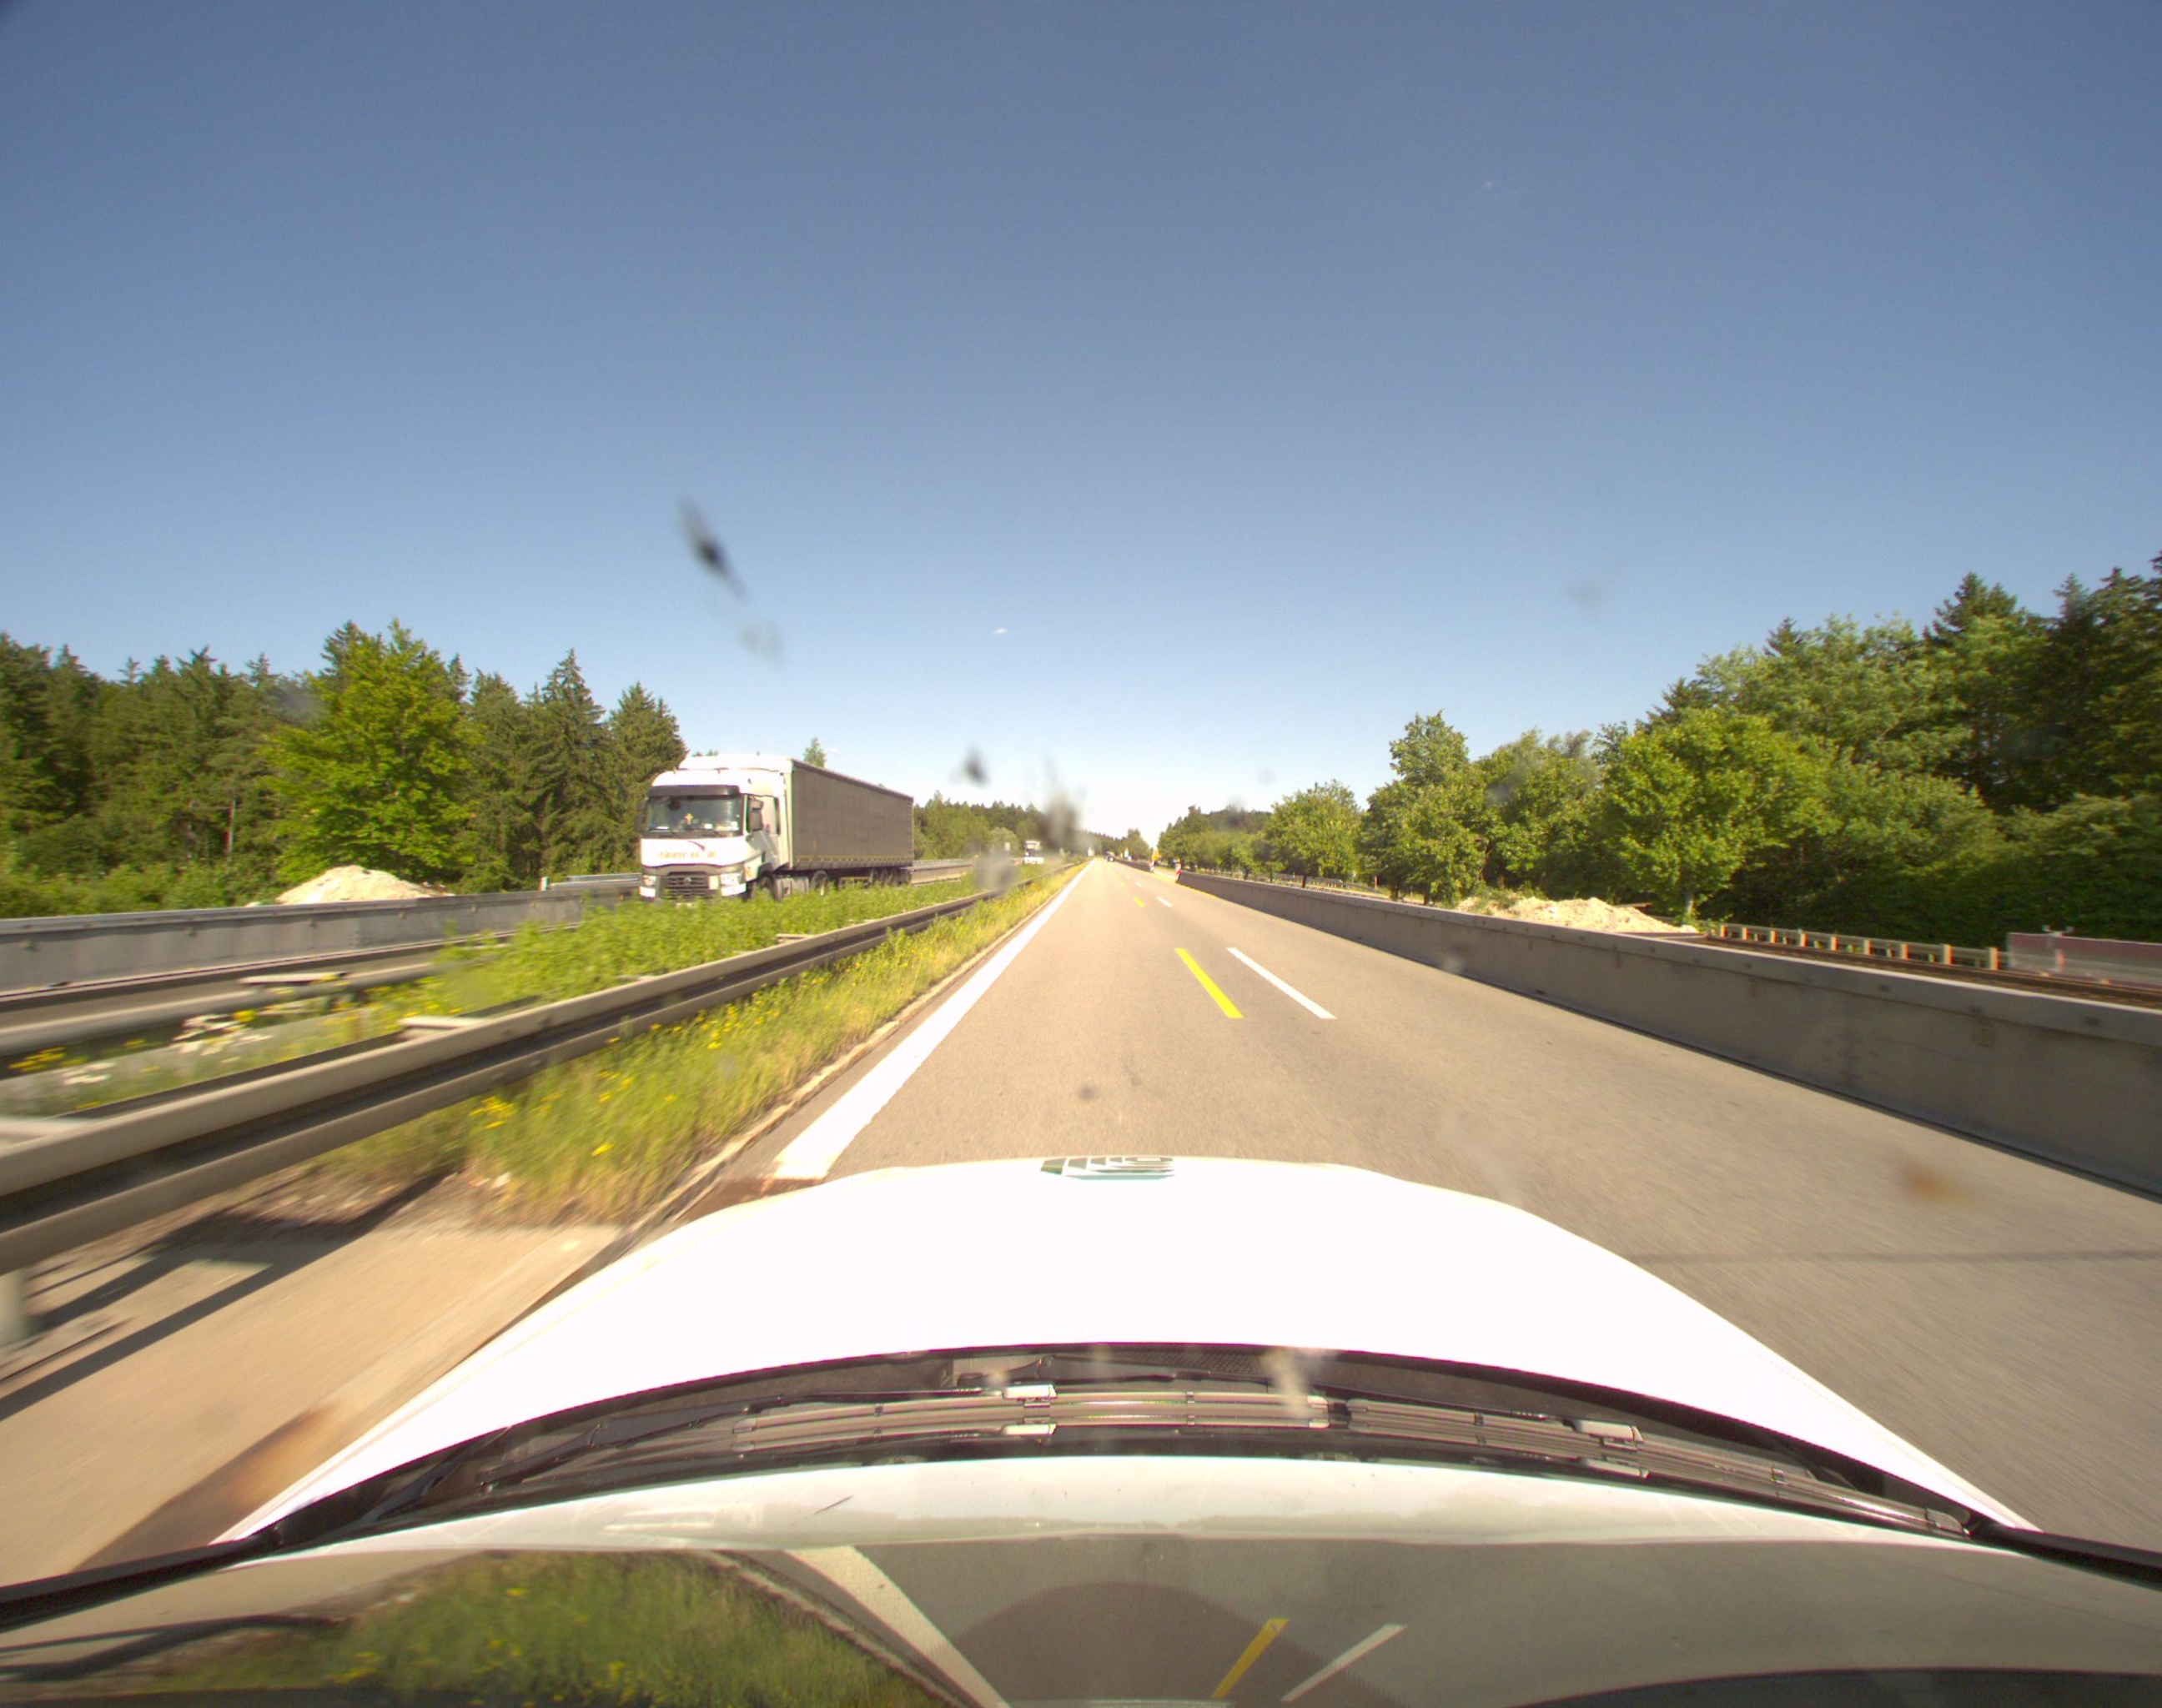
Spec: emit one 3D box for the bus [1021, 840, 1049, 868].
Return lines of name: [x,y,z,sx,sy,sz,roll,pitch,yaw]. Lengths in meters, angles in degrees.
bus: [-6.379,0.019,115.002,2.872,3.671,12.918,2,0,1]

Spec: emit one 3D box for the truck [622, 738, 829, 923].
truck: [-8.802,-0.513,20.956,2.760,4.088,5.477,-1,-1,1]

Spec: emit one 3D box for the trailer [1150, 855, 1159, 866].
trailer: [12.510,1.128,138.360,1.121,1.874,3.998,1,0,-1]

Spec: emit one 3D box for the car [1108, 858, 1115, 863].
car: [7.809,1.678,209.651,1.737,1.466,4.295,1,0,1]

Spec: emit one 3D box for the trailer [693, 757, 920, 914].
trailer: [-8.594,-0.444,28.362,2.731,4.070,14.000,-1,0,2]
